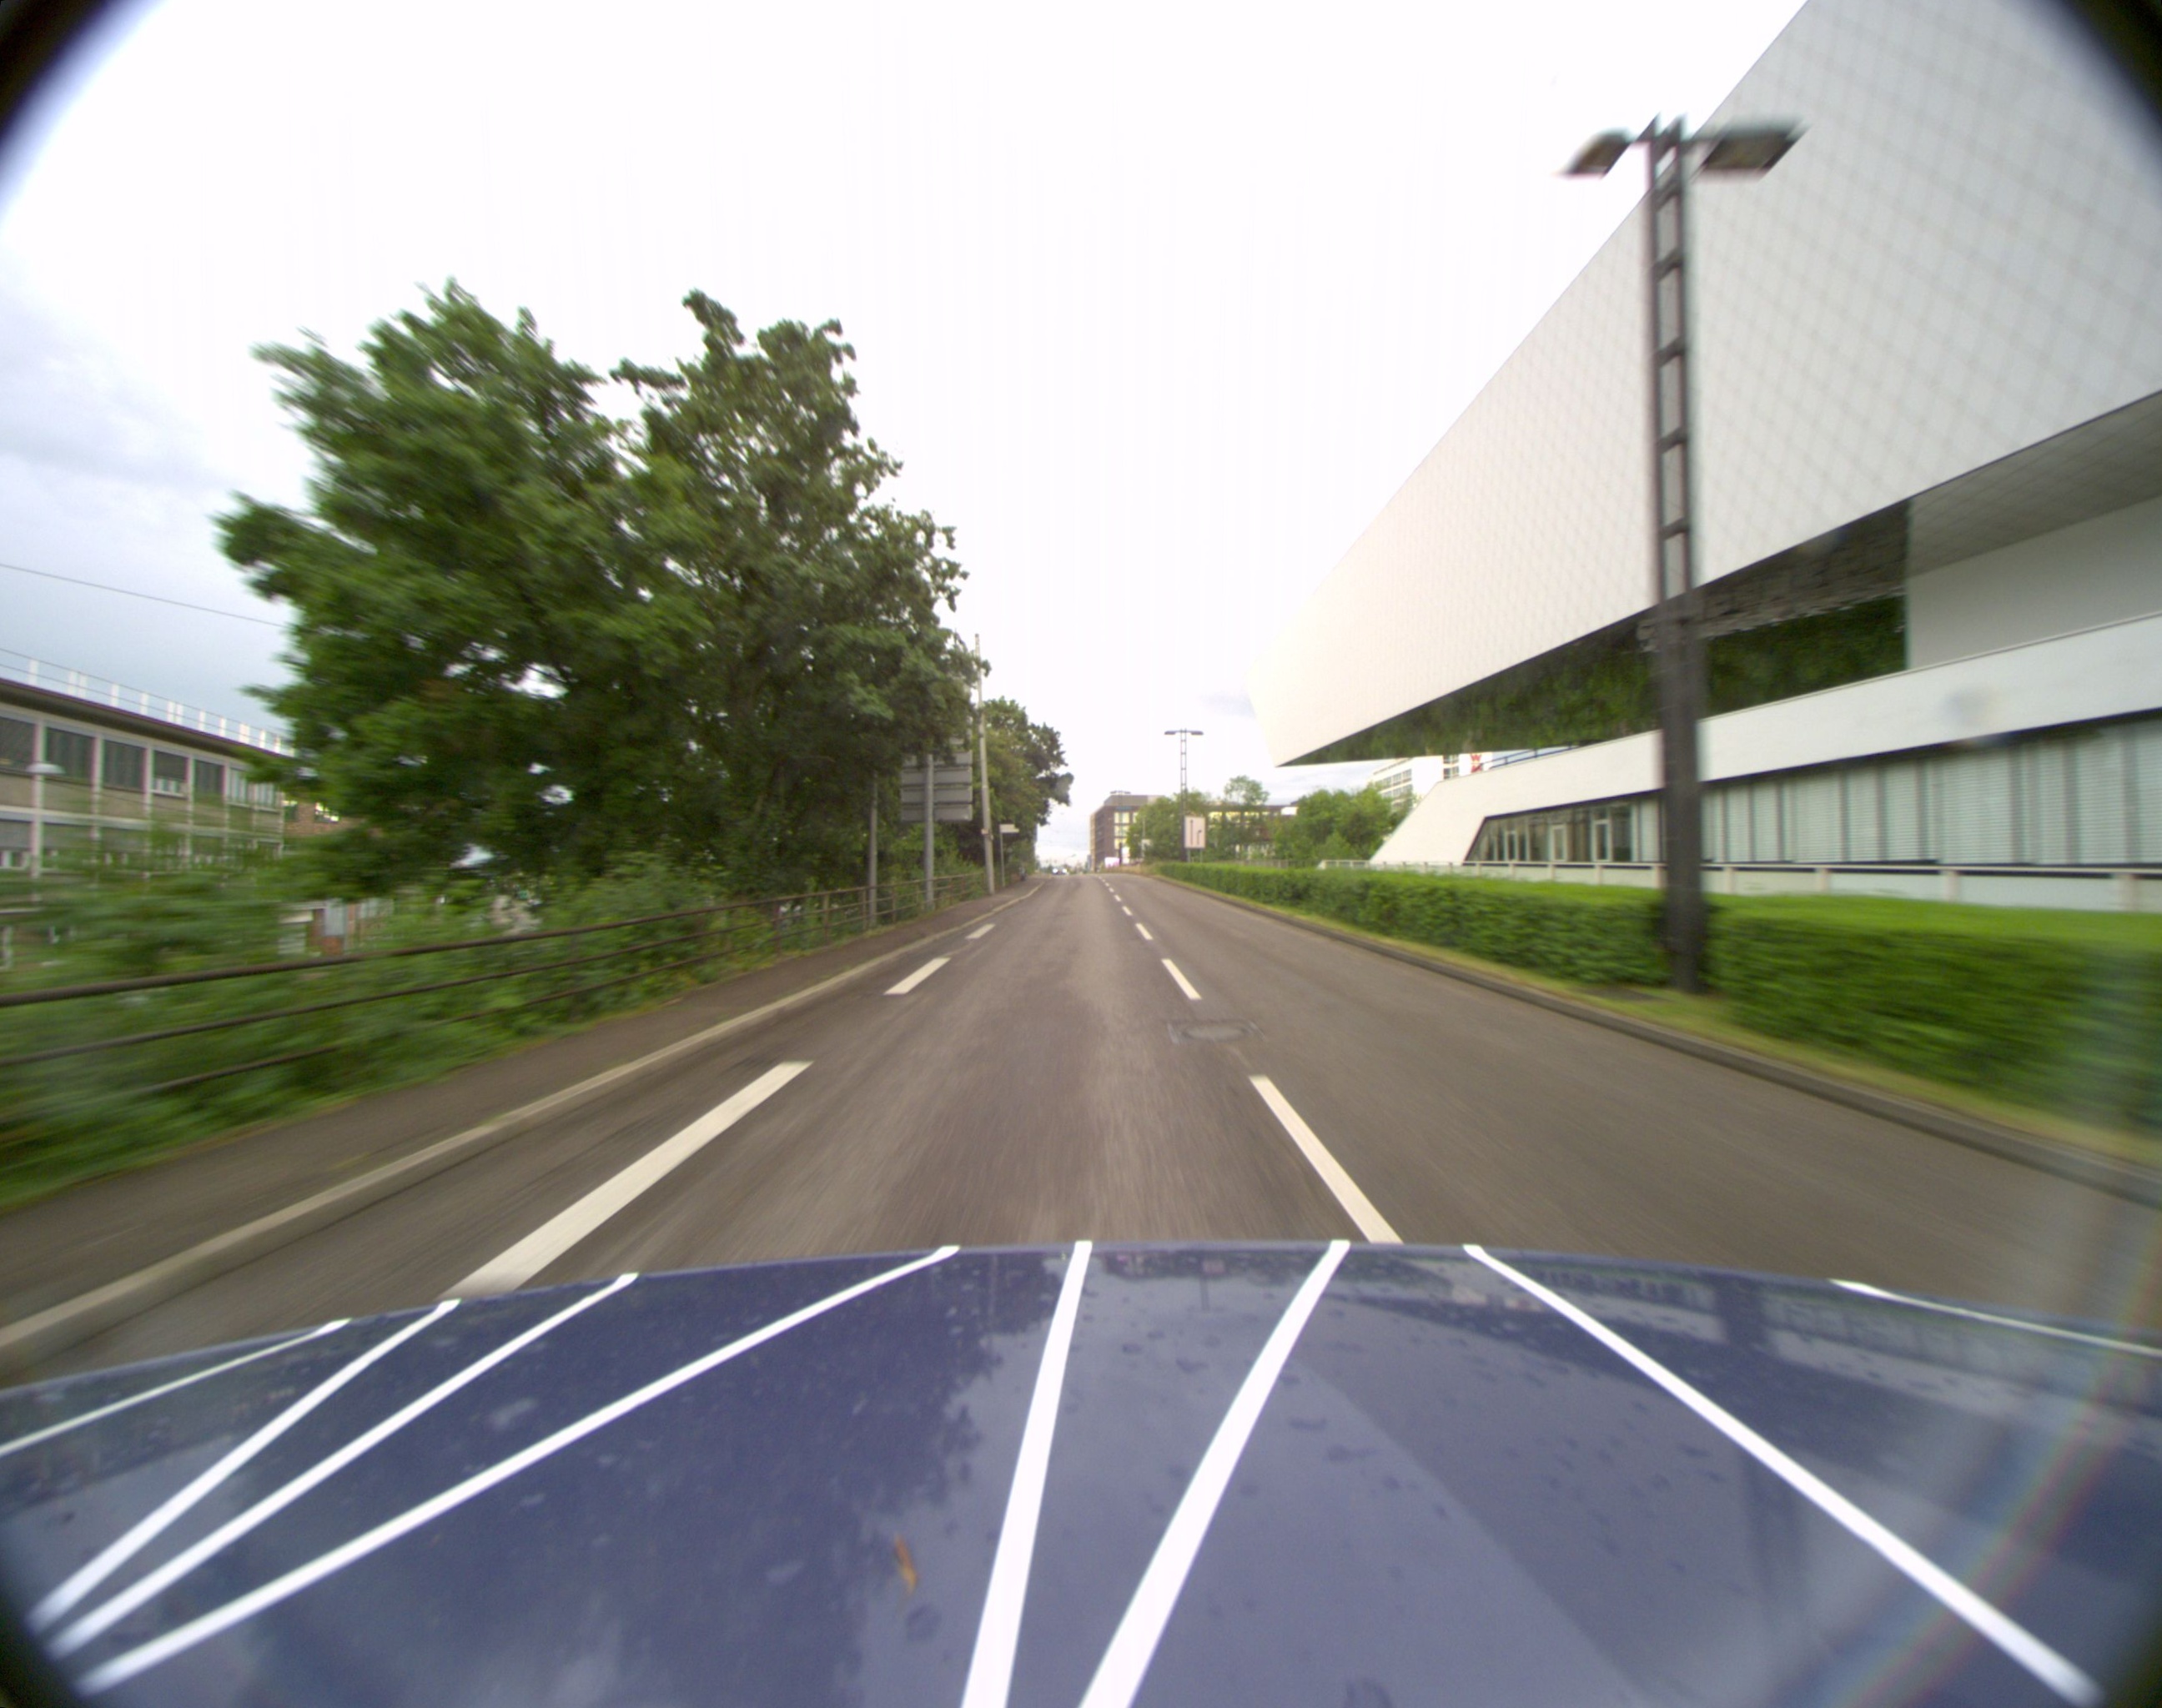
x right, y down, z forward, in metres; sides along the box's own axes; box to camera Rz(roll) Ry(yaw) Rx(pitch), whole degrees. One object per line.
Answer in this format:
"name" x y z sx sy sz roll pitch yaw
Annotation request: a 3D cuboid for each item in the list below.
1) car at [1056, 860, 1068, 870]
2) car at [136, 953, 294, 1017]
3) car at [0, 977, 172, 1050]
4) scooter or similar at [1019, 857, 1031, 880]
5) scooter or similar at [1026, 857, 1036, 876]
"car" -2.904 1.689 116.910 1.841 1.574 4.288 0 0 -2
"car" -31.257 4.665 27.634 1.749 1.516 4.444 -2 0 -19
"car" -29.979 4.678 22.667 1.669 1.387 3.995 -1 -1 -15
"scooter or similar" -3.117 0.809 42.513 0.539 1.225 1.844 0 0 0
"scooter or similar" -3.188 0.769 48.402 0.574 1.201 1.468 0 0 0
